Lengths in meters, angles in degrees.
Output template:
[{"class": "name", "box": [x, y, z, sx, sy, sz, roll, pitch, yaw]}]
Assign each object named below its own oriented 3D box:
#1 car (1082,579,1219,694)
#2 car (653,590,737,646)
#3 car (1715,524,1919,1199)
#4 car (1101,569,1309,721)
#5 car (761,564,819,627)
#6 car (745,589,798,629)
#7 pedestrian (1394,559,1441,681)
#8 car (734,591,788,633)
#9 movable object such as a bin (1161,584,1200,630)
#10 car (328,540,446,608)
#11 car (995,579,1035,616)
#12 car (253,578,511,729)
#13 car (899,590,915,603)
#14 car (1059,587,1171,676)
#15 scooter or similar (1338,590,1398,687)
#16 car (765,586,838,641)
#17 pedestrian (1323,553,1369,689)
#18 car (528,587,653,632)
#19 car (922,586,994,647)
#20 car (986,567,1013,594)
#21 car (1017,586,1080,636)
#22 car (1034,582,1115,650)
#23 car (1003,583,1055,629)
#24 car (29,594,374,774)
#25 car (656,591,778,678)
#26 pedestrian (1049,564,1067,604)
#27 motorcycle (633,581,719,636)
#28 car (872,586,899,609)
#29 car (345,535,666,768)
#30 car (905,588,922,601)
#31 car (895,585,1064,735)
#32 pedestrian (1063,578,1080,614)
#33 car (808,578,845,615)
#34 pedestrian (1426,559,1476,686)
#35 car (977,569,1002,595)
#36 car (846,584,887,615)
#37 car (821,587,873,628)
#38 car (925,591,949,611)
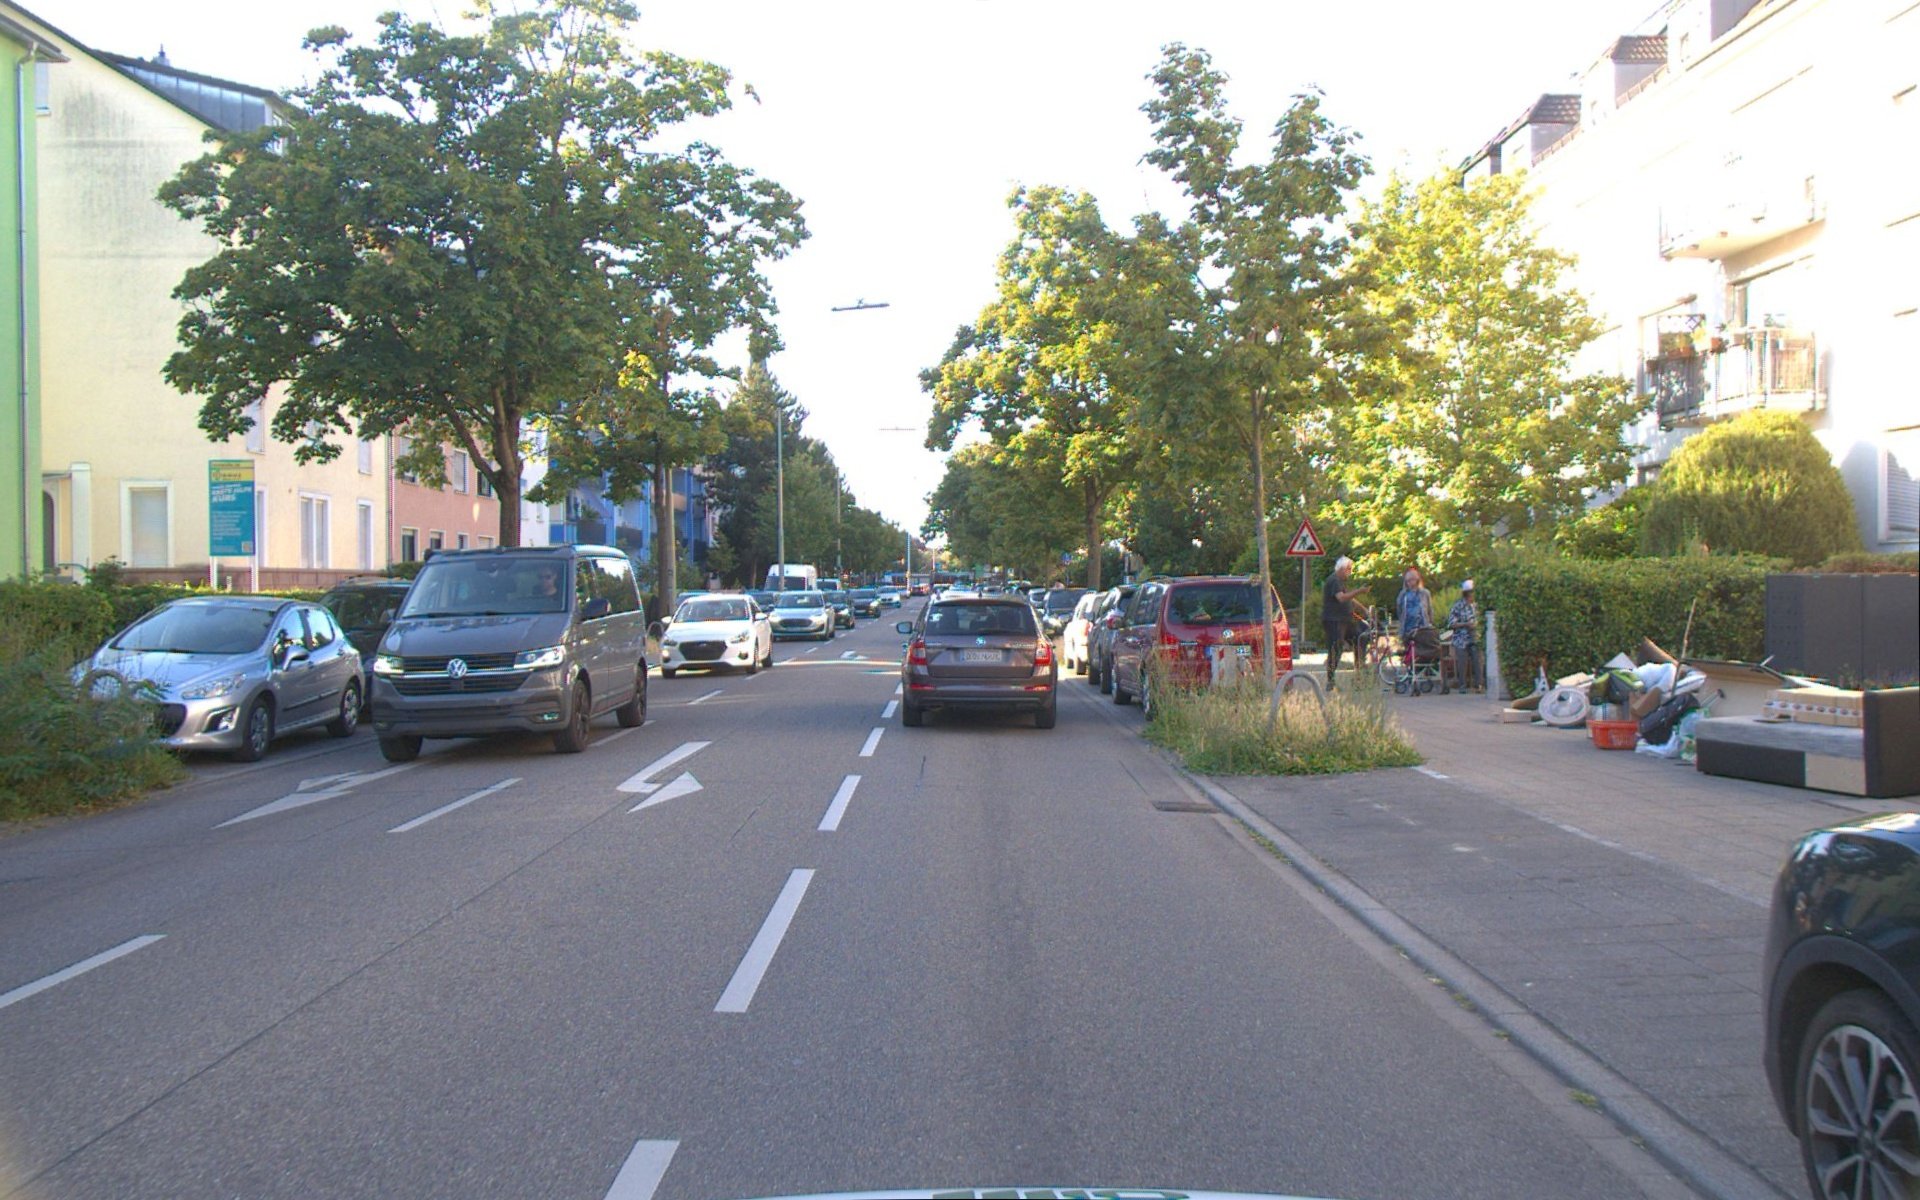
[{"class": "car", "box": [2.853, 0.502, 25.493, 1.603, 1.596, 4.000, -2, 0, 0]}, {"class": "car", "box": [-7.628, 0.476, 47.968, 1.742, 1.531, 4.588, 0, 0, -1]}, {"class": "car", "box": [2.930, 0.645, 2.359, 1.756, 1.660, 4.028, -2, 0, -1]}, {"class": "car", "box": [2.926, 0.480, 20.683, 1.687, 1.684, 4.595, 0, 0, -3]}, {"class": "car", "box": [-7.511, -0.213, 73.758, 1.953, 2.662, 7.104, 1, 0, -1]}, {"class": "car", "box": [-7.644, 0.332, 67.457, 1.672, 1.518, 4.058, 2, 0, 0]}, {"class": "pedestrian", "box": [6.533, 0.279, 23.626, 0.500, 1.726, 0.526, 0, 0, -5]}, {"class": "car", "box": [-7.498, 0.436, 62.630, 1.579, 1.498, 3.812, 2, 0, -1]}, {"class": "movable object such as a bin", "box": [7.595, 0.237, 57.030, 1.240, 1.518, 1.140, -3, 0, 9]}, {"class": "car", "box": [-15.111, -0.657, 43.840, 1.790, 1.712, 3.999, 0, 0, -1]}, {"class": "car", "box": [2.859, -0.157, 87.293, 1.764, 1.840, 4.422, 1, 0, -3]}, {"class": "car", "box": [-7.430, 0.615, 21.778, 1.747, 1.763, 4.617, -1, 0, 0]}, {"class": "car", "box": [-6.365, -0.453, 199.510, 1.744, 1.520, 3.971, 1, 0, 0]}, {"class": "car", "box": [2.847, 0.530, 31.145, 1.603, 1.516, 4.415, -2, 0, -1]}, {"class": "scooter or similar", "box": [5.713, 0.528, 23.201, 0.730, 1.340, 0.721, 0, 0, 6]}, {"class": "car", "box": [-4.755, 0.381, 50.127, 1.795, 1.496, 4.451, -3, 0, -1]}, {"class": "pedestrian", "box": [5.414, 0.288, 23.232, 0.537, 1.882, 0.765, 0, 0, 6]}, {"class": "car", "box": [-12.930, 0.329, 58.063, 3.905, 1.437, 1.916, 2, 0, 0]}, {"class": "car", "box": [-0.077, 0.456, 46.262, 1.854, 1.532, 3.789, 3, -1, -1]}, {"class": "car", "box": [2.614, -1.271, 110.103, 1.718, 1.716, 4.253, 1, 0, 1]}, {"class": "car", "box": [2.829, 0.327, 53.560, 1.683, 1.520, 4.393, -1, 0, -1]}, {"class": "car", "box": [2.929, 0.370, 43.108, 1.836, 1.608, 4.821, -2, 0, 1]}, {"class": "car", "box": [2.510, 0.206, 60.860, 1.683, 1.629, 4.095, -1, 0, -1]}, {"class": "car", "box": [-7.401, 0.729, 16.627, 1.648, 1.547, 4.189, 0, 0, -2]}, {"class": "car", "box": [-4.586, 0.604, 31.748, 1.779, 1.471, 4.109, -3, 0, -2]}, {"class": "pedestrian", "box": [4.280, -0.702, 72.472, 0.771, 1.730, 0.808, 0, 0, 4]}, {"class": "motorcycle", "box": [-7.502, 0.231, 43.753, 2.002, 1.413, 0.980, 2, -1, -33]}, {"class": "car", "box": [-5.279, -0.209, 117.320, 1.842, 1.570, 4.264, -1, 0, -3]}, {"class": "car", "box": [-4.443, 0.441, 17.028, 1.953, 1.980, 4.777, -2, 0, -1]}, {"class": "car", "box": [-6.222, -0.755, 219.501, 1.955, 1.780, 3.995, -1, 0, -6]}, {"class": "car", "box": [0.246, 0.604, 19.136, 1.718, 1.518, 4.001, 1, 0, 1]}, {"class": "pedestrian", "box": [6.010, -0.234, 89.048, 0.781, 1.893, 0.951, -1, 0, 10]}, {"class": "car", "box": [-7.791, -0.212, 96.909, 1.831, 2.066, 5.300, 0, 0, -1]}, {"class": "pedestrian", "box": [6.781, 0.299, 22.835, 0.500, 1.726, 0.526, 0, 0, -5]}, {"class": "car", "box": [2.277, -1.365, 126.684, 1.877, 1.893, 5.634, 0, 0, 1]}, {"class": "car", "box": [-4.702, -0.037, 83.550, 1.664, 1.496, 4.295, -2, 0, 2]}, {"class": "car", "box": [-4.217, 0.269, 62.325, 1.665, 1.428, 4.027, -2, 0, -1]}, {"class": "car", "box": [-1.828, 0.063, 131.238, 1.745, 1.506, 3.968, 1, 0, -3]}]
